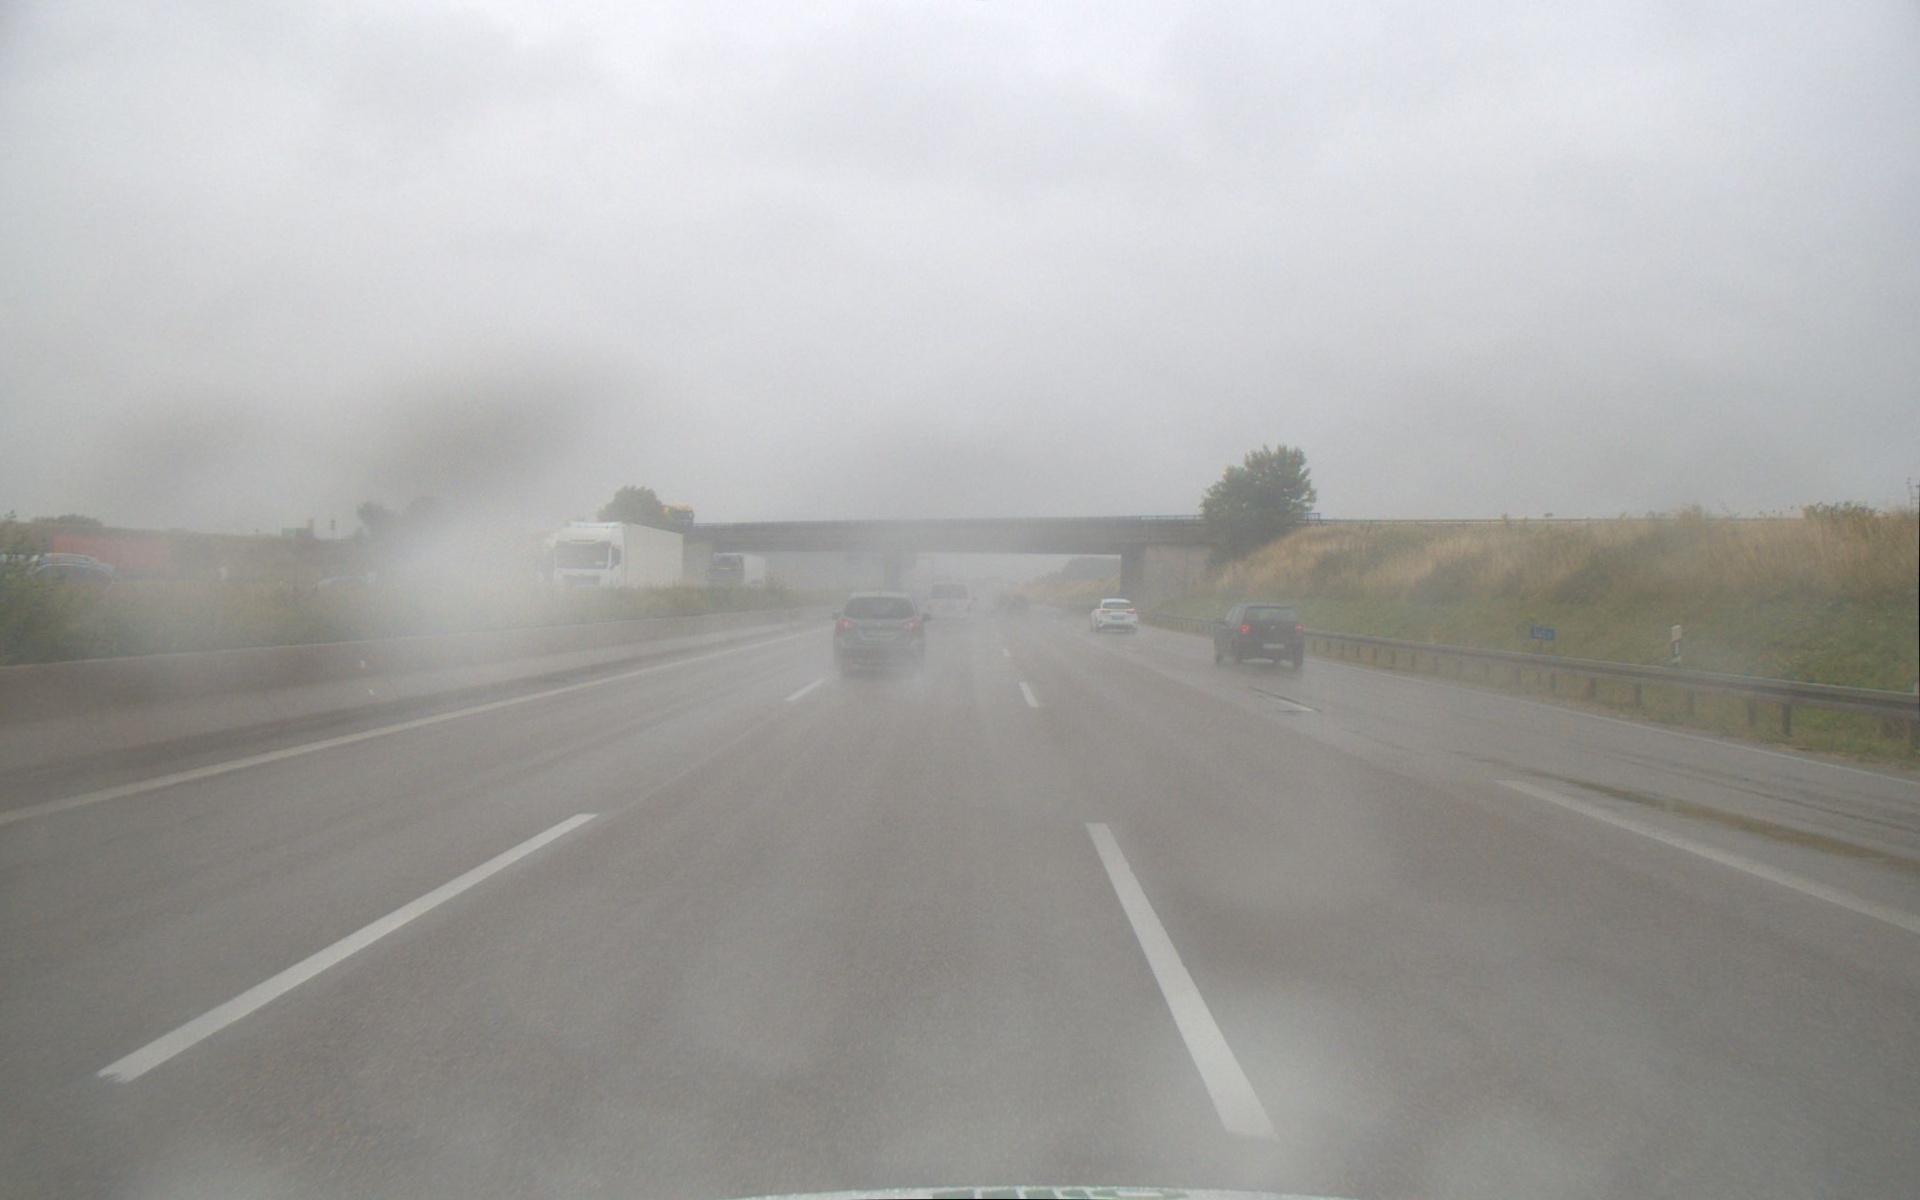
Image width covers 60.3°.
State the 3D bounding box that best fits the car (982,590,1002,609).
[{"bbox_3d":[3.632,-0.077,188.594,1.953,2.138,3.998,2,0,-2],"label":"car"}]

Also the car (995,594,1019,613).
[{"bbox_3d":[3.987,0.315,139.404,1.764,1.534,3.998,1,0,-2],"label":"car"}]

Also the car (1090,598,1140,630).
[{"bbox_3d":[6.697,0.606,71.969,1.952,1.288,4.001,1,0,2],"label":"car"}]

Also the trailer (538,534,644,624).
[{"bbox_3d":[-19.177,-1.039,86.925,2.760,4.325,13.235,1,0,-1],"label":"trailer"}]

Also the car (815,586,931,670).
[{"bbox_3d":[-1.662,0.514,33.022,1.808,1.539,4.758,1,0,3],"label":"car"}]

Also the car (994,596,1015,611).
[{"bbox_3d":[4.480,0.341,166.141,1.953,1.489,4.000,2,0,0],"label":"car"}]

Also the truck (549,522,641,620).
[{"bbox_3d":[-15.349,-1.191,69.875,2.702,3.914,4.819,2,0,0],"label":"truck"}]

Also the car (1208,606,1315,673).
[{"bbox_3d":[7.042,0.886,38.958,1.697,1.446,3.656,1,0,-2],"label":"car"}]

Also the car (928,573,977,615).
[{"bbox_3d":[-0.268,-0.221,66.301,1.858,1.613,4.000,1,0,1],"label":"car"}]

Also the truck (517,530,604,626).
[{"bbox_3d":[-19.079,-1.026,79.320,2.703,4.370,5.839,2,0,-1],"label":"truck"}]
